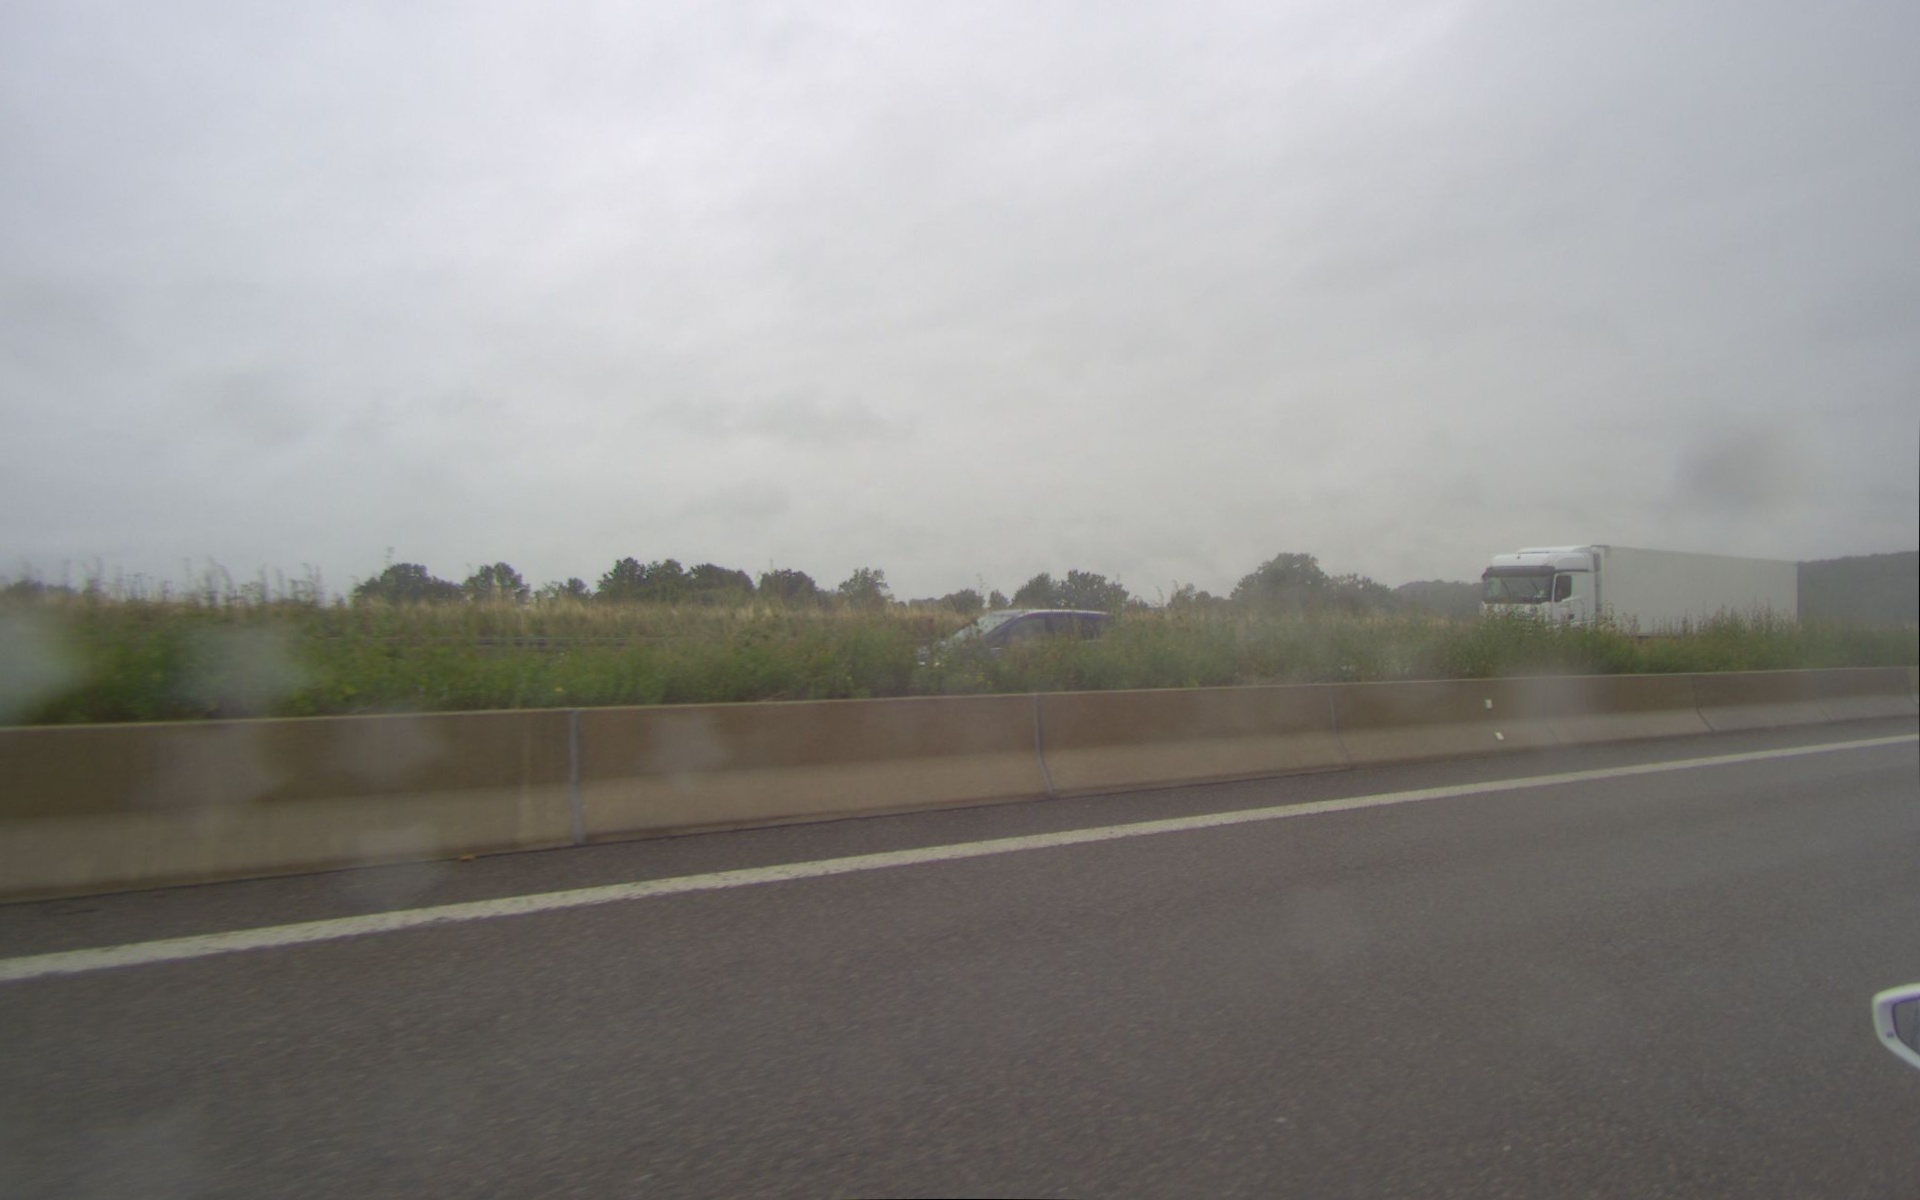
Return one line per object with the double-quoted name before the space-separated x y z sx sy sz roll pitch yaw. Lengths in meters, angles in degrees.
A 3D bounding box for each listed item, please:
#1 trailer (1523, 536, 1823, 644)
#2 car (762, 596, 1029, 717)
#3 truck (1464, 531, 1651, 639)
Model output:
"trailer" 27.215 -0.165 37.765 15.536 3.185 2.974 3 -1 -30
"car" -1.014 0.855 16.233 3.953 1.751 1.746 1 0 -30
"truck" 19.932 -0.415 33.497 5.530 3.165 2.979 3 -1 -30
